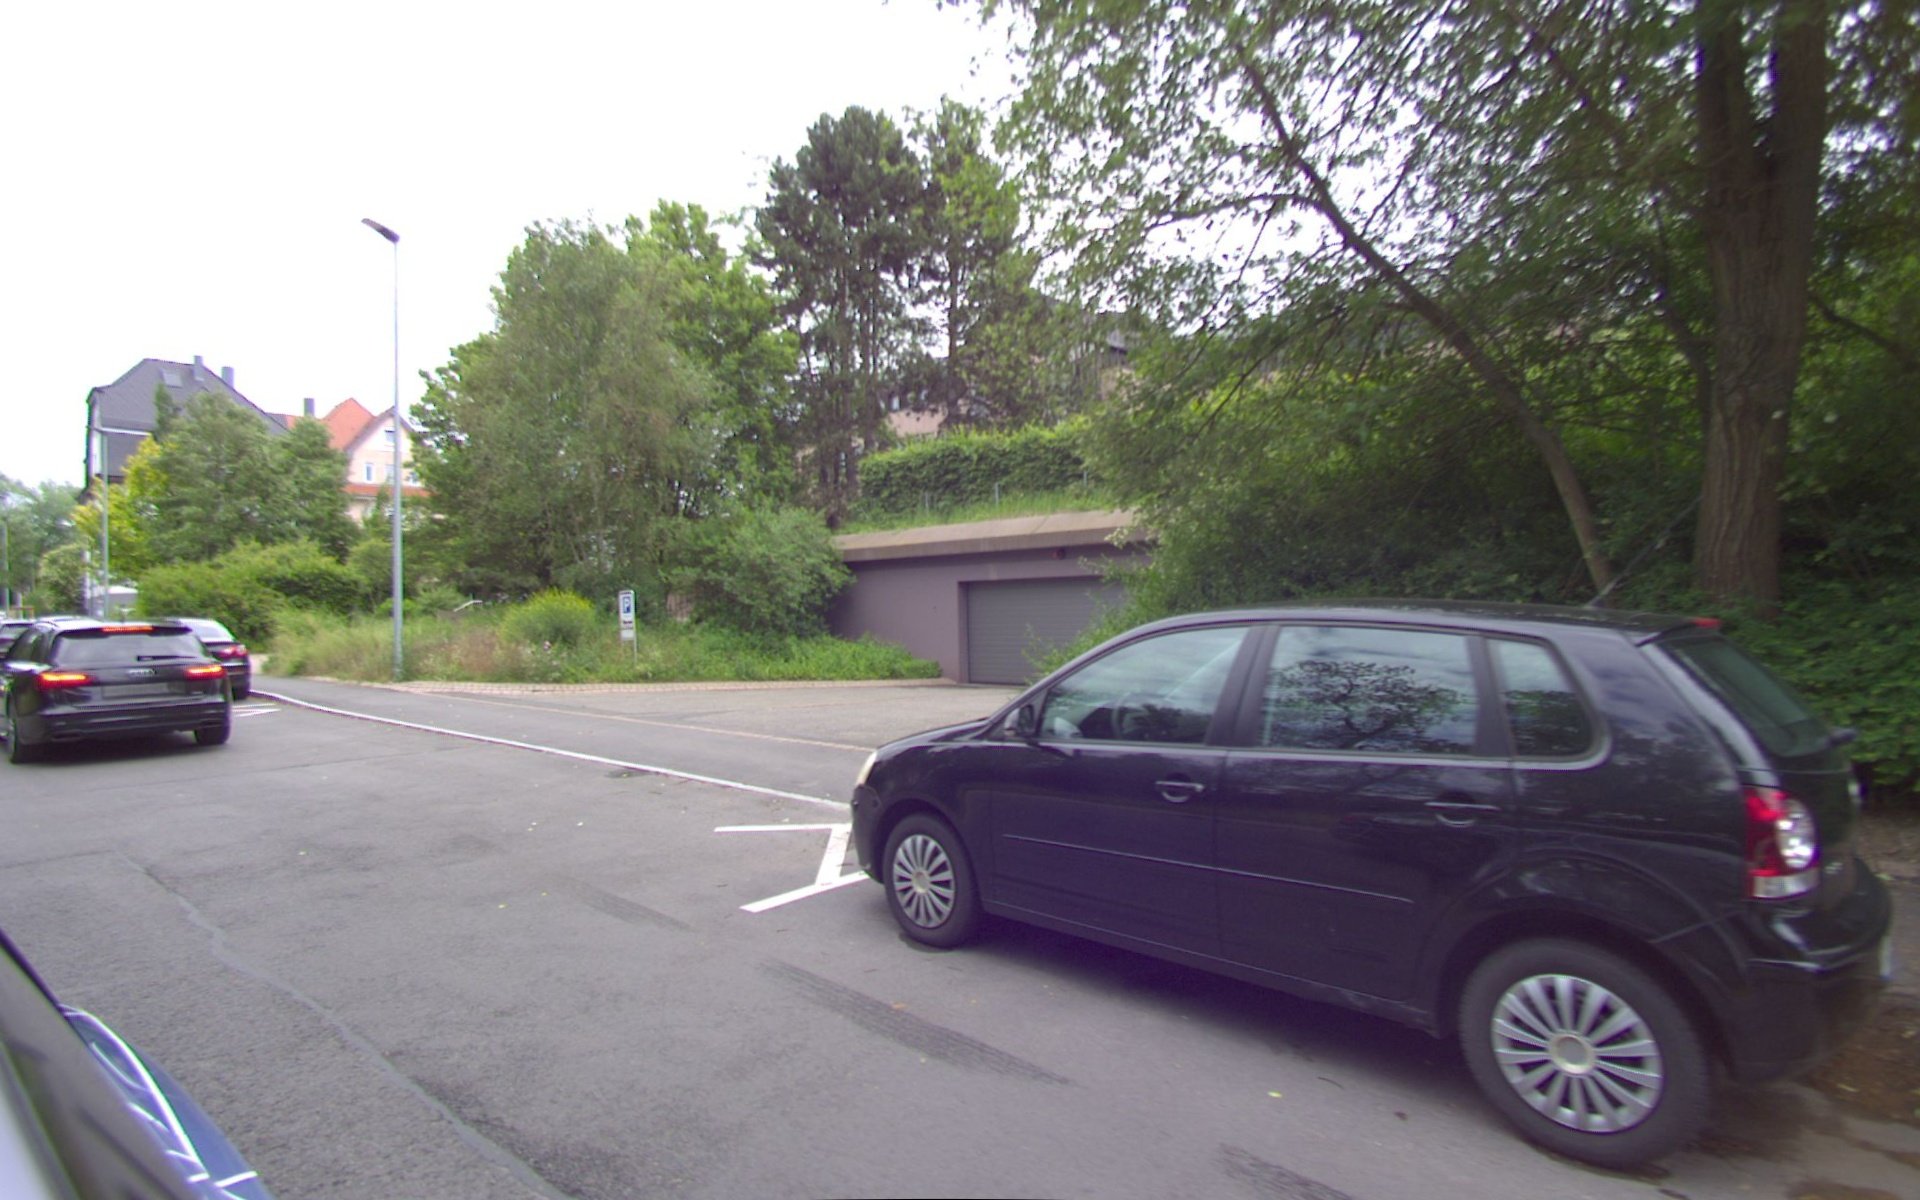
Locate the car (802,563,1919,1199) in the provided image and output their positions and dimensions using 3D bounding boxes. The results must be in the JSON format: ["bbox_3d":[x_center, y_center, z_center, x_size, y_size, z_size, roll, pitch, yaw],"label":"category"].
[{"bbox_3d":[1.241,0.680,3.979,3.970,1.461,1.605,-1,-1,44],"label":"car"}]

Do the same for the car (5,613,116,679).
[{"bbox_3d":[-22.299,1.083,25.048,3.999,1.493,1.607,-1,-1,42],"label":"car"}]

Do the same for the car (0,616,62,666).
[{"bbox_3d":[-29.807,1.255,31.938,4.691,1.493,1.665,-1,-1,42],"label":"car"}]

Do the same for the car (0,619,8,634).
[{"bbox_3d":[-98.336,2.686,103.002,1.709,1.439,3.465,1,-1,-37],"label":"car"}]

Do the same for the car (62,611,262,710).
[{"bbox_3d":[-13.845,0.943,17.432,5.102,1.442,1.760,-1,0,41],"label":"car"}]

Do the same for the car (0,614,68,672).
[{"bbox_3d":[-26.380,1.163,28.312,4.495,1.493,1.688,-1,-1,43],"label":"car"}]

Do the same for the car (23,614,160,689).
[{"bbox_3d":[-18.702,1.043,21.731,4.348,1.443,1.607,-1,-1,41],"label":"car"}]

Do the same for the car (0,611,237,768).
[{"bbox_3d":[-9.996,0.877,11.609,4.487,1.436,1.762,-1,0,41],"label":"car"}]
